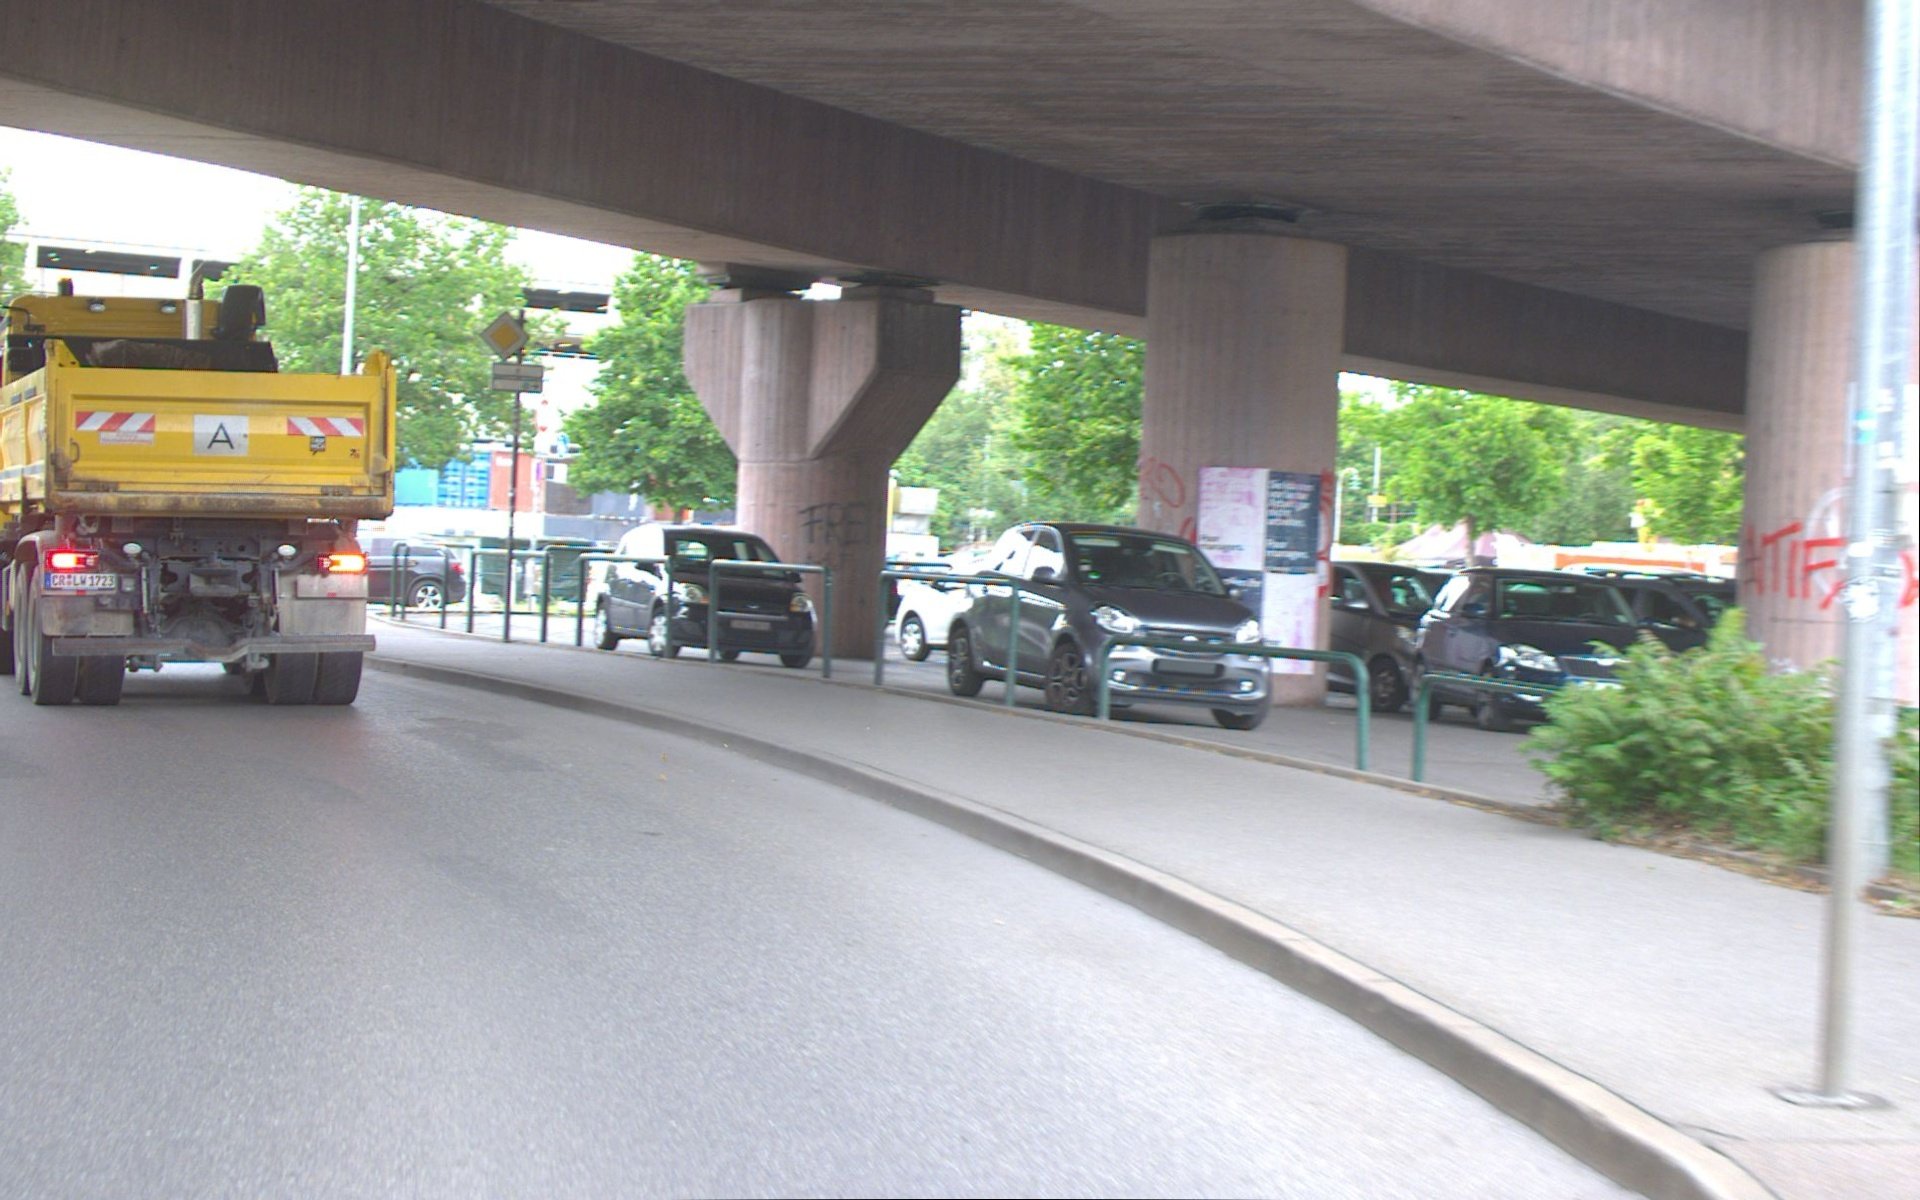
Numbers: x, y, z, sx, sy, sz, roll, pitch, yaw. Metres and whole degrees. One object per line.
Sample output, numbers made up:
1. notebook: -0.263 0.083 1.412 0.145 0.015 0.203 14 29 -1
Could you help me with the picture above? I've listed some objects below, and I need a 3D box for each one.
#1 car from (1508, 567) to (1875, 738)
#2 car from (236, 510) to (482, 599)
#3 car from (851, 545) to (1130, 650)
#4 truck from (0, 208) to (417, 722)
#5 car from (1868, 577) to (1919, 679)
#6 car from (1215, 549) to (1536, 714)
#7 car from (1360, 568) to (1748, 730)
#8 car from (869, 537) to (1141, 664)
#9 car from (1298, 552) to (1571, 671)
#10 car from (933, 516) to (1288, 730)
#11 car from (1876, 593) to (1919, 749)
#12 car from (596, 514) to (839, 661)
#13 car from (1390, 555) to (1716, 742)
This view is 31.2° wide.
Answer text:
1. car: 8.140 0.561 38.551 1.832 1.692 3.862 2 1 -30
2. car: -11.930 -0.904 68.211 4.533 1.569 1.846 2 1 -19
3. car: 0.512 -0.031 55.041 4.234 1.415 1.510 3 2 -32
4. truck: -6.756 -1.019 28.856 2.757 3.686 7.882 0 1 -21
5. car: 16.910 0.528 55.864 1.752 1.632 3.861 2 1 -37
6. car: 4.324 0.306 36.175 1.525 1.495 3.375 4 0 -30
7. car: 6.328 0.493 37.133 1.832 1.465 4.381 4 0 -26
8. car: 0.558 -0.014 46.310 1.634 1.546 4.011 2 1 -34
9. car: 6.951 0.150 50.647 1.693 1.550 3.861 2 1 -37
10. car: 1.156 0.149 28.027 1.605 1.528 3.411 4 0 -20
11. car: 11.208 0.804 33.671 1.832 1.545 4.192 2 1 -30
12. car: -2.676 -0.166 37.232 1.605 1.392 3.581 4 0 -20
13. car: 5.327 0.428 31.395 1.785 1.501 3.860 4 -1 -7
